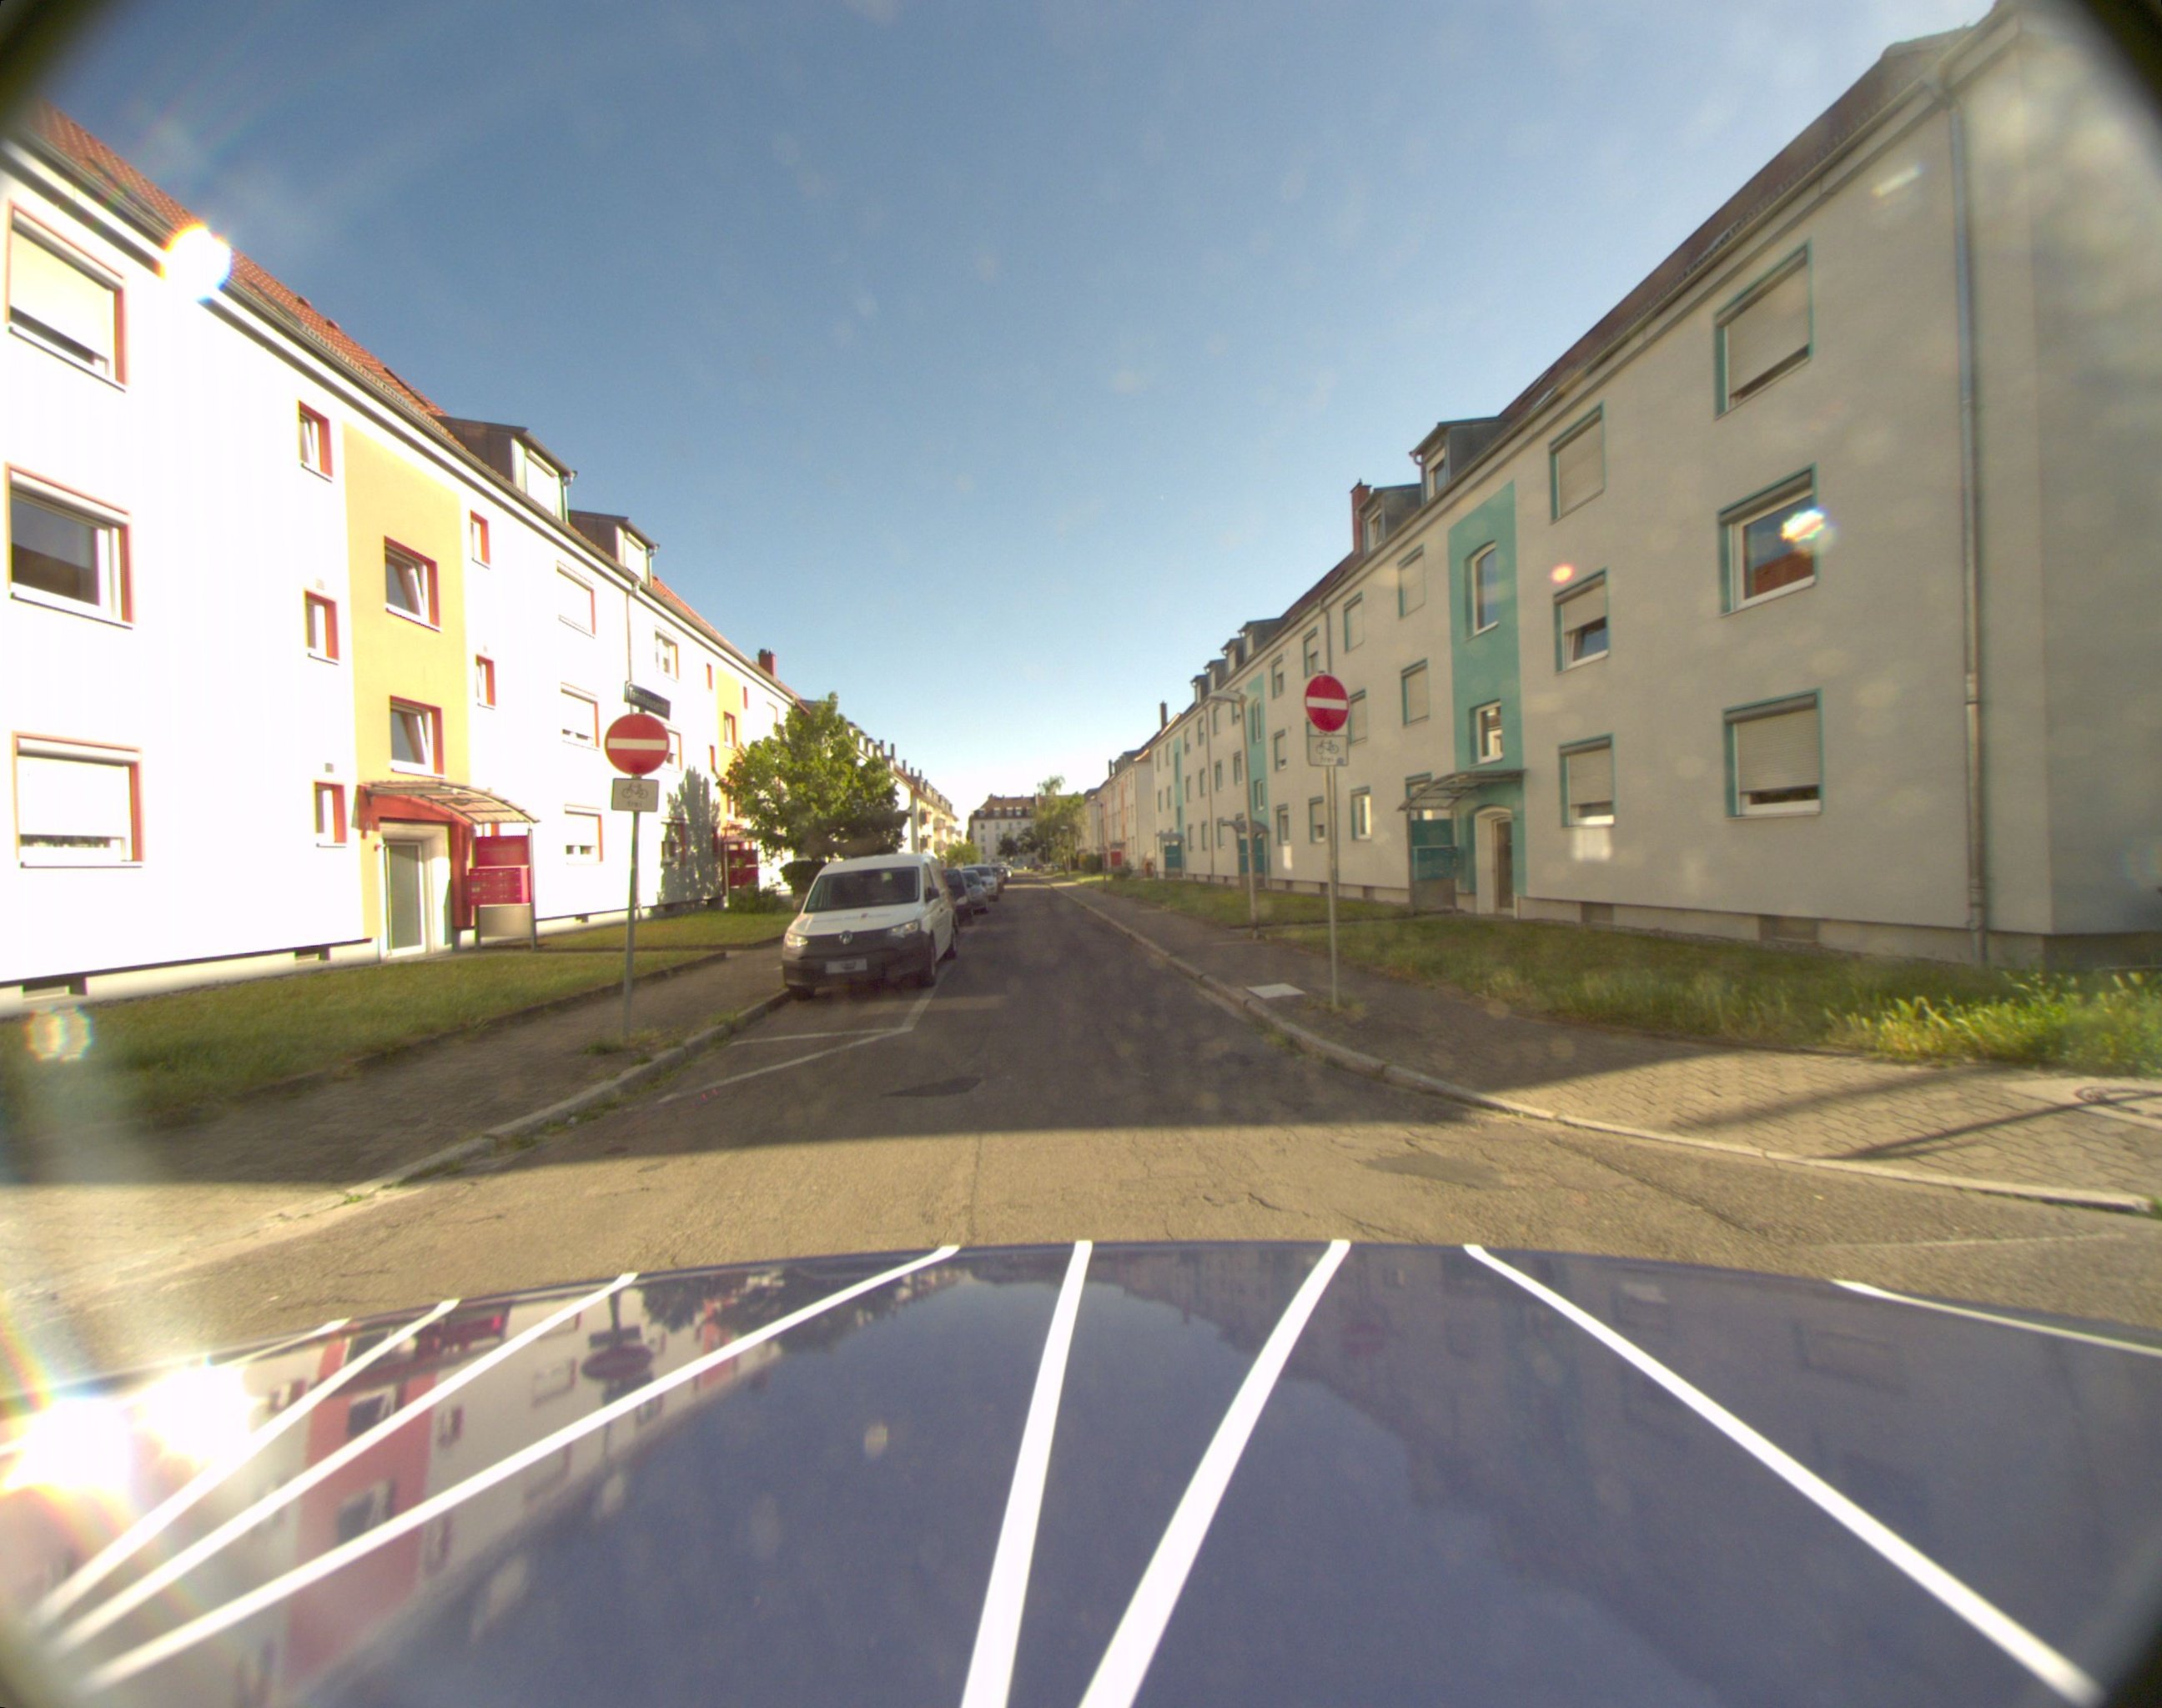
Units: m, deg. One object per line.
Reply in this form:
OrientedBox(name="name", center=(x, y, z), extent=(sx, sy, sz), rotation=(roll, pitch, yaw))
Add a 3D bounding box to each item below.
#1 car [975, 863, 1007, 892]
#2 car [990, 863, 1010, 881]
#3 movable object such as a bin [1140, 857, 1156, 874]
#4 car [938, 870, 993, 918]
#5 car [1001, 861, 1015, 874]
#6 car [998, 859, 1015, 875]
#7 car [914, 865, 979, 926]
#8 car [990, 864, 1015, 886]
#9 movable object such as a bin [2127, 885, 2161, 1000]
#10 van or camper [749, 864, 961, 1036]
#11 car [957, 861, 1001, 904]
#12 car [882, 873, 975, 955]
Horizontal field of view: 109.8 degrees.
OrientedBox(name="car", center=(-5.344, 1.340, 45.503), extent=(1.732, 1.597, 4.422), rotation=(-1, 0, -5))
OrientedBox(name="car", center=(-7.487, 1.640, 70.339), extent=(1.709, 1.562, 4.039), rotation=(-1, 0, -5))
OrientedBox(name="movable object such as a bin", center=(5.445, 0.929, 61.877), extent=(1.167, 1.385, 0.877), rotation=(-1, 0, -5))
OrientedBox(name="car", center=(-3.836, 1.287, 25.713), extent=(1.633, 1.441, 3.950), rotation=(-2, -1, -6))
OrientedBox(name="car", center=(-9.739, 1.793, 101.416), extent=(1.709, 1.562, 4.733), rotation=(-1, 1, -4))
OrientedBox(name="car", center=(-9.268, 1.577, 94.654), extent=(1.954, 1.889, 4.762), rotation=(-1, 1, -4))
OrientedBox(name="car", center=(-3.721, 1.090, 21.331), extent=(1.622, 1.541, 3.608), rotation=(1, -1, -9))
OrientedBox(name="car", center=(-5.831, 1.524, 56.871), extent=(1.709, 1.562, 3.875), rotation=(-1, 0, -5))
OrientedBox(name="movable object such as a bin", center=(9.792, 0.771, 6.533), extent=(0.614, 0.986, 0.714), rotation=(-2, 0, -6))
OrientedBox(name="van or camper", center=(-2.939, 1.119, 11.035), extent=(1.797, 1.737, 4.733), rotation=(-6, 0, -4))
OrientedBox(name="car", center=(-4.630, 1.245, 34.810), extent=(1.781, 1.709, 4.305), rotation=(-4, 0, -7))
OrientedBox(name="car", center=(-3.203, 1.211, 16.586), extent=(1.577, 1.409, 3.786), rotation=(-4, 0, -6))
